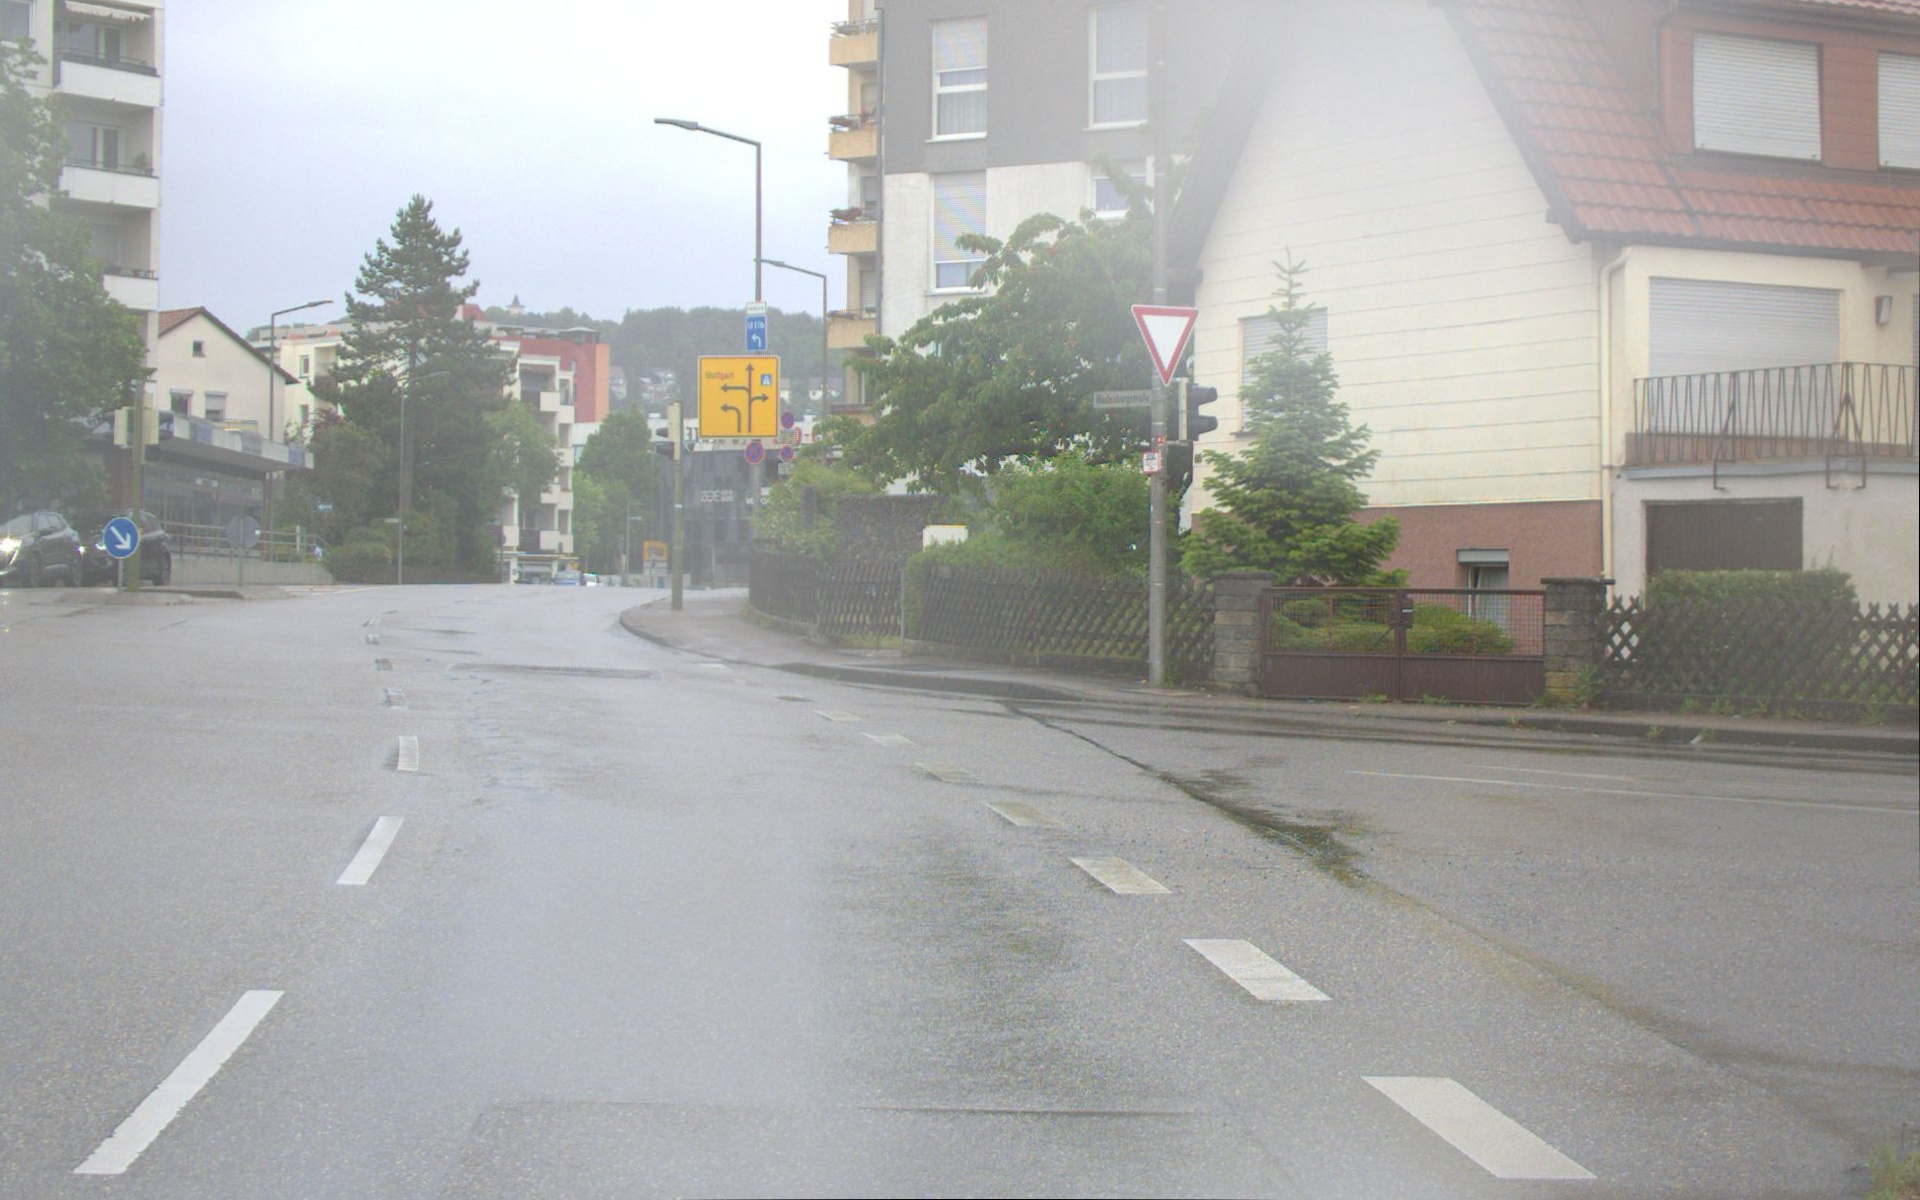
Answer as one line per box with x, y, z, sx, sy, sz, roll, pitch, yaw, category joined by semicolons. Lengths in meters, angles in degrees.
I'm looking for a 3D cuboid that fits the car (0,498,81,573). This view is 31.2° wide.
-18.141;-1.259;65.610;1.715;1.382;4.021;1;1;-1;car

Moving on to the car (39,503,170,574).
-17.751;-1.289;71.483;1.778;1.415;3.831;1;1;-1;car

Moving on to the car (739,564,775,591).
-11.619;-1.299;196.894;1.813;1.481;4.189;0;1;0;car

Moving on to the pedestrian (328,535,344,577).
-24.632;-1.751;135.697;0.497;1.652;0.434;1;1;5;pedestrian
